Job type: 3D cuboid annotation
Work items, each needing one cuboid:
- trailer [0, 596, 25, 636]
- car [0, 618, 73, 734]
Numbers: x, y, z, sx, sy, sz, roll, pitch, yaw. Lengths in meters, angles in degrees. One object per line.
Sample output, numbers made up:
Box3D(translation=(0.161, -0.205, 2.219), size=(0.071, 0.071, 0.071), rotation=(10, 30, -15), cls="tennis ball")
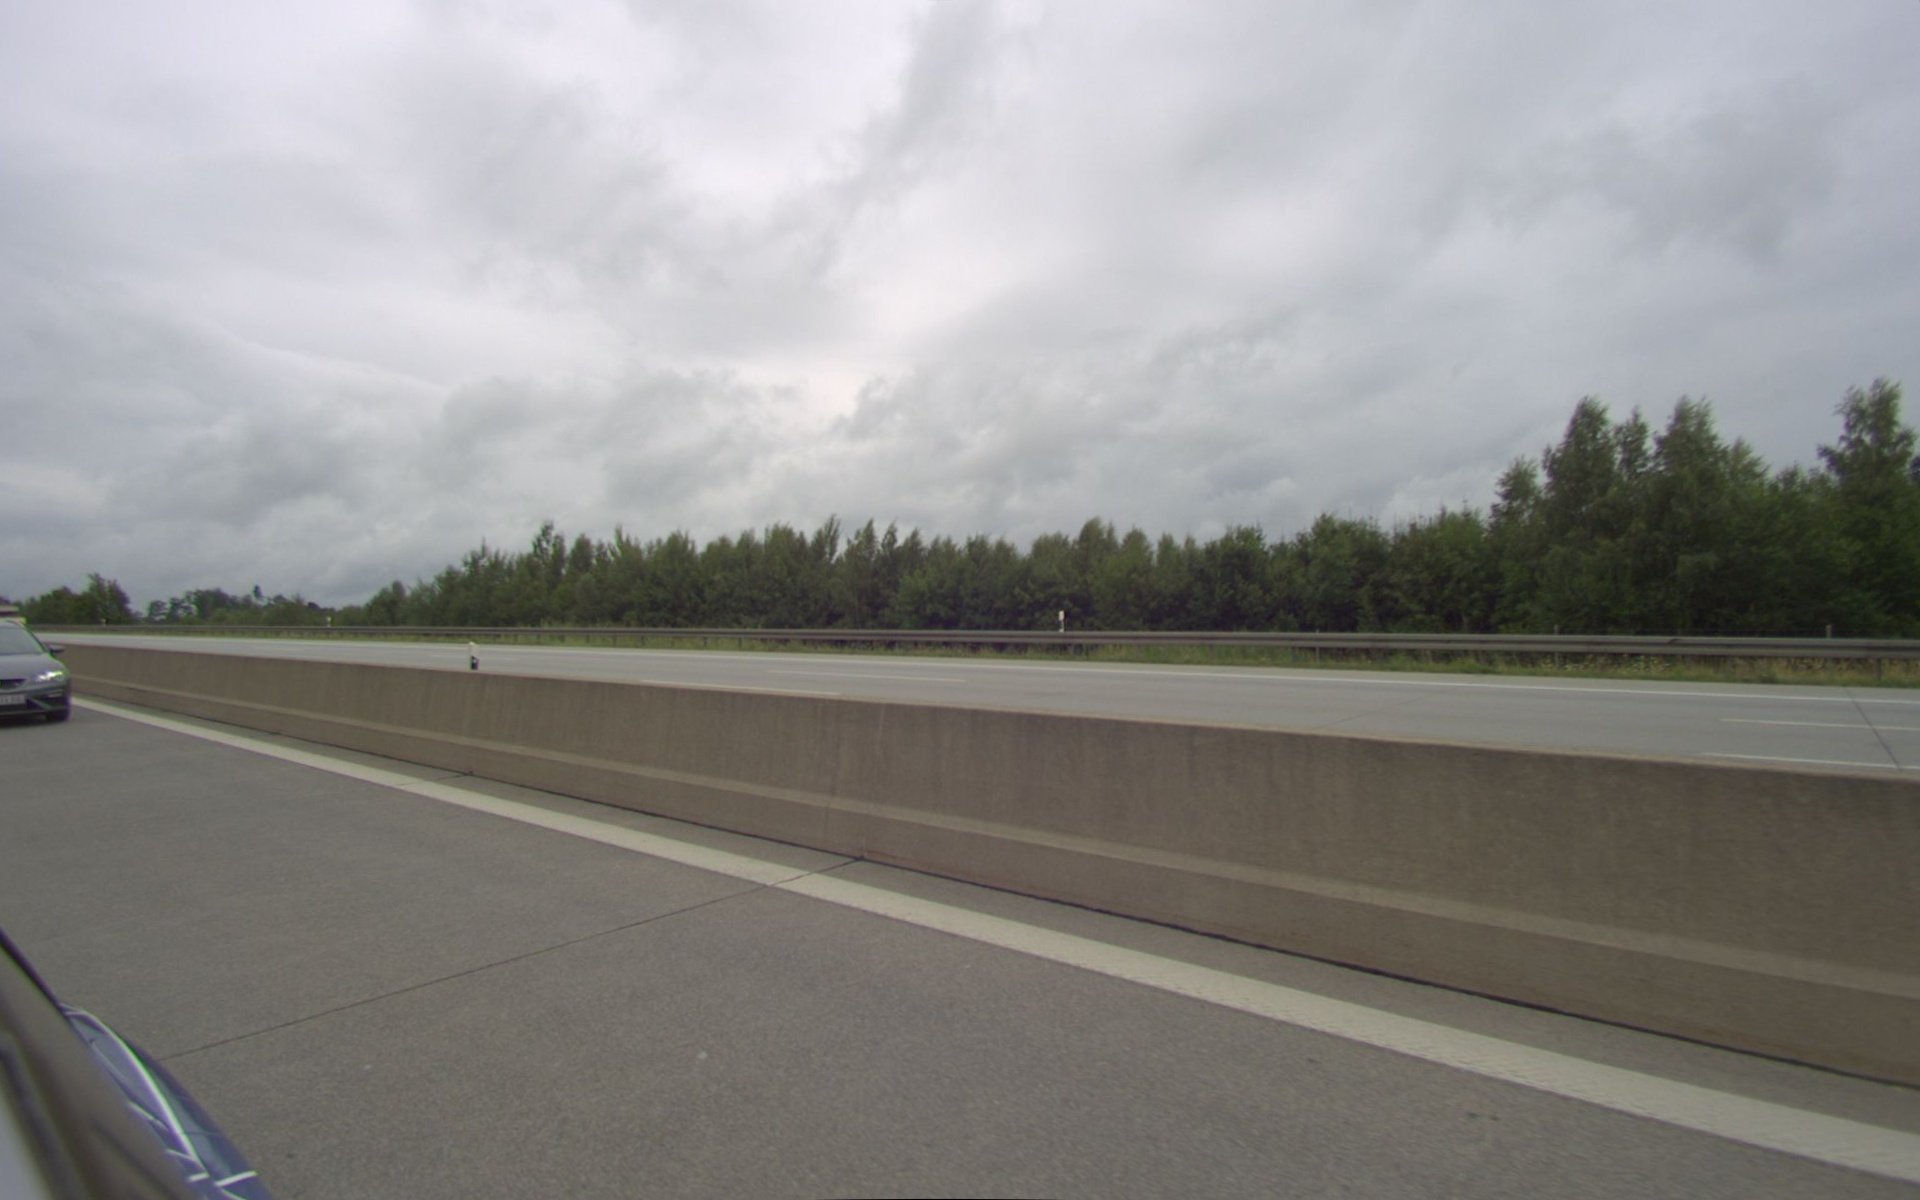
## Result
Box3D(translation=(-91.696, 1.511, 95.630), size=(13.702, 3.569, 2.562), rotation=(-1, -2, 38), cls="trailer")
Box3D(translation=(-14.264, 1.017, 14.456), size=(4.568, 1.492, 1.767), rotation=(-1, -2, 41), cls="car")
